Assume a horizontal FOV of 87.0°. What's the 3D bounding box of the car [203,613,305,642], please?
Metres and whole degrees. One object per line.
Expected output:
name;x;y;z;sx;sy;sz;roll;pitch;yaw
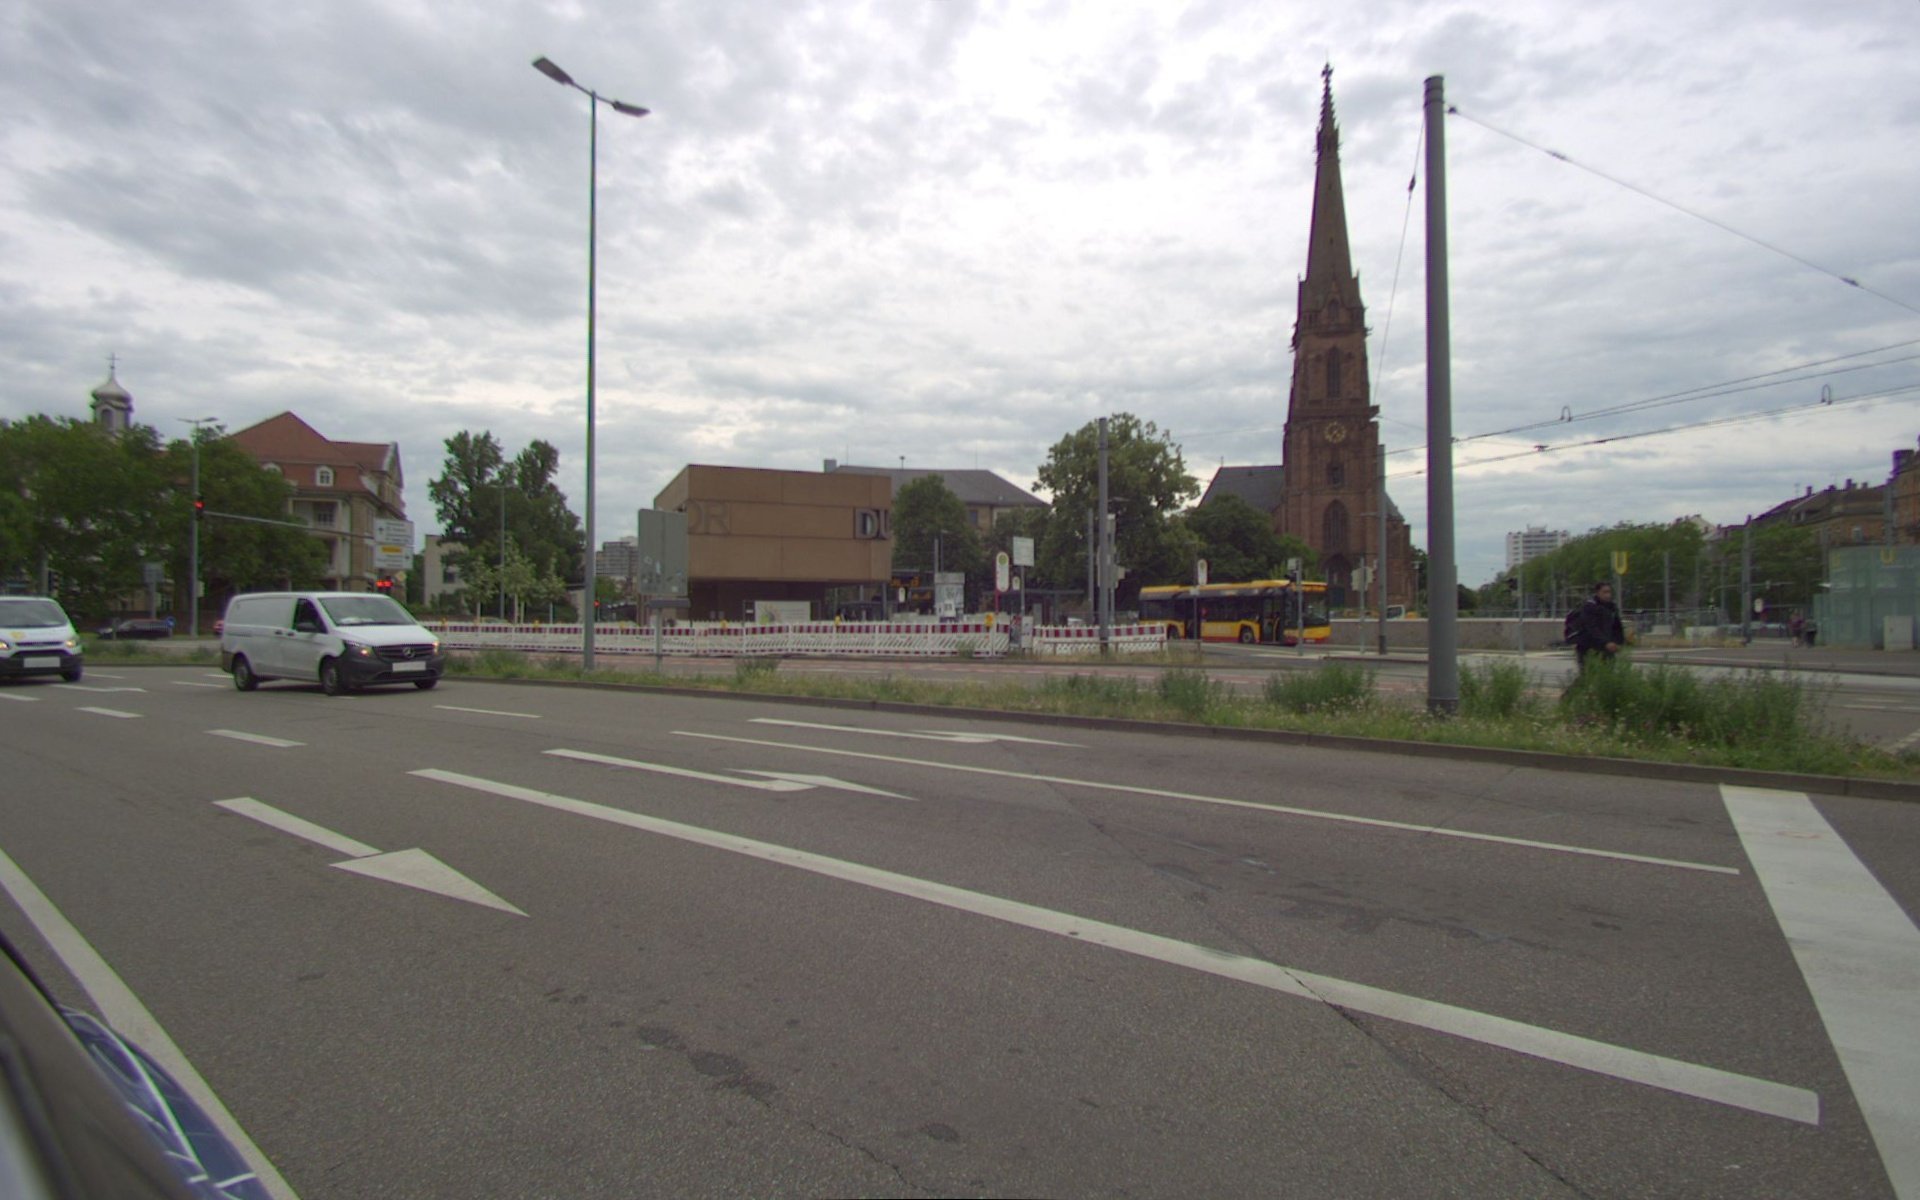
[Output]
car;-44.066;1.715;63.343;1.896;1.730;5.214;-1;-1;17

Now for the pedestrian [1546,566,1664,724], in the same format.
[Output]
pedestrian;8.318;0.566;13.090;0.768;1.958;0.984;0;-2;-12

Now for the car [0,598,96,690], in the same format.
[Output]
car;-21.926;0.980;23.069;4.505;1.957;1.980;-1;-2;30

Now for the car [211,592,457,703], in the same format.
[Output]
car;-12.054;0.840;19.384;5.070;1.896;1.903;-1;0;31

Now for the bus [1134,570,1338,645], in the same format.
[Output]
bus;12.650;0.357;48.287;2.815;3.100;12.059;-1;0;-21
